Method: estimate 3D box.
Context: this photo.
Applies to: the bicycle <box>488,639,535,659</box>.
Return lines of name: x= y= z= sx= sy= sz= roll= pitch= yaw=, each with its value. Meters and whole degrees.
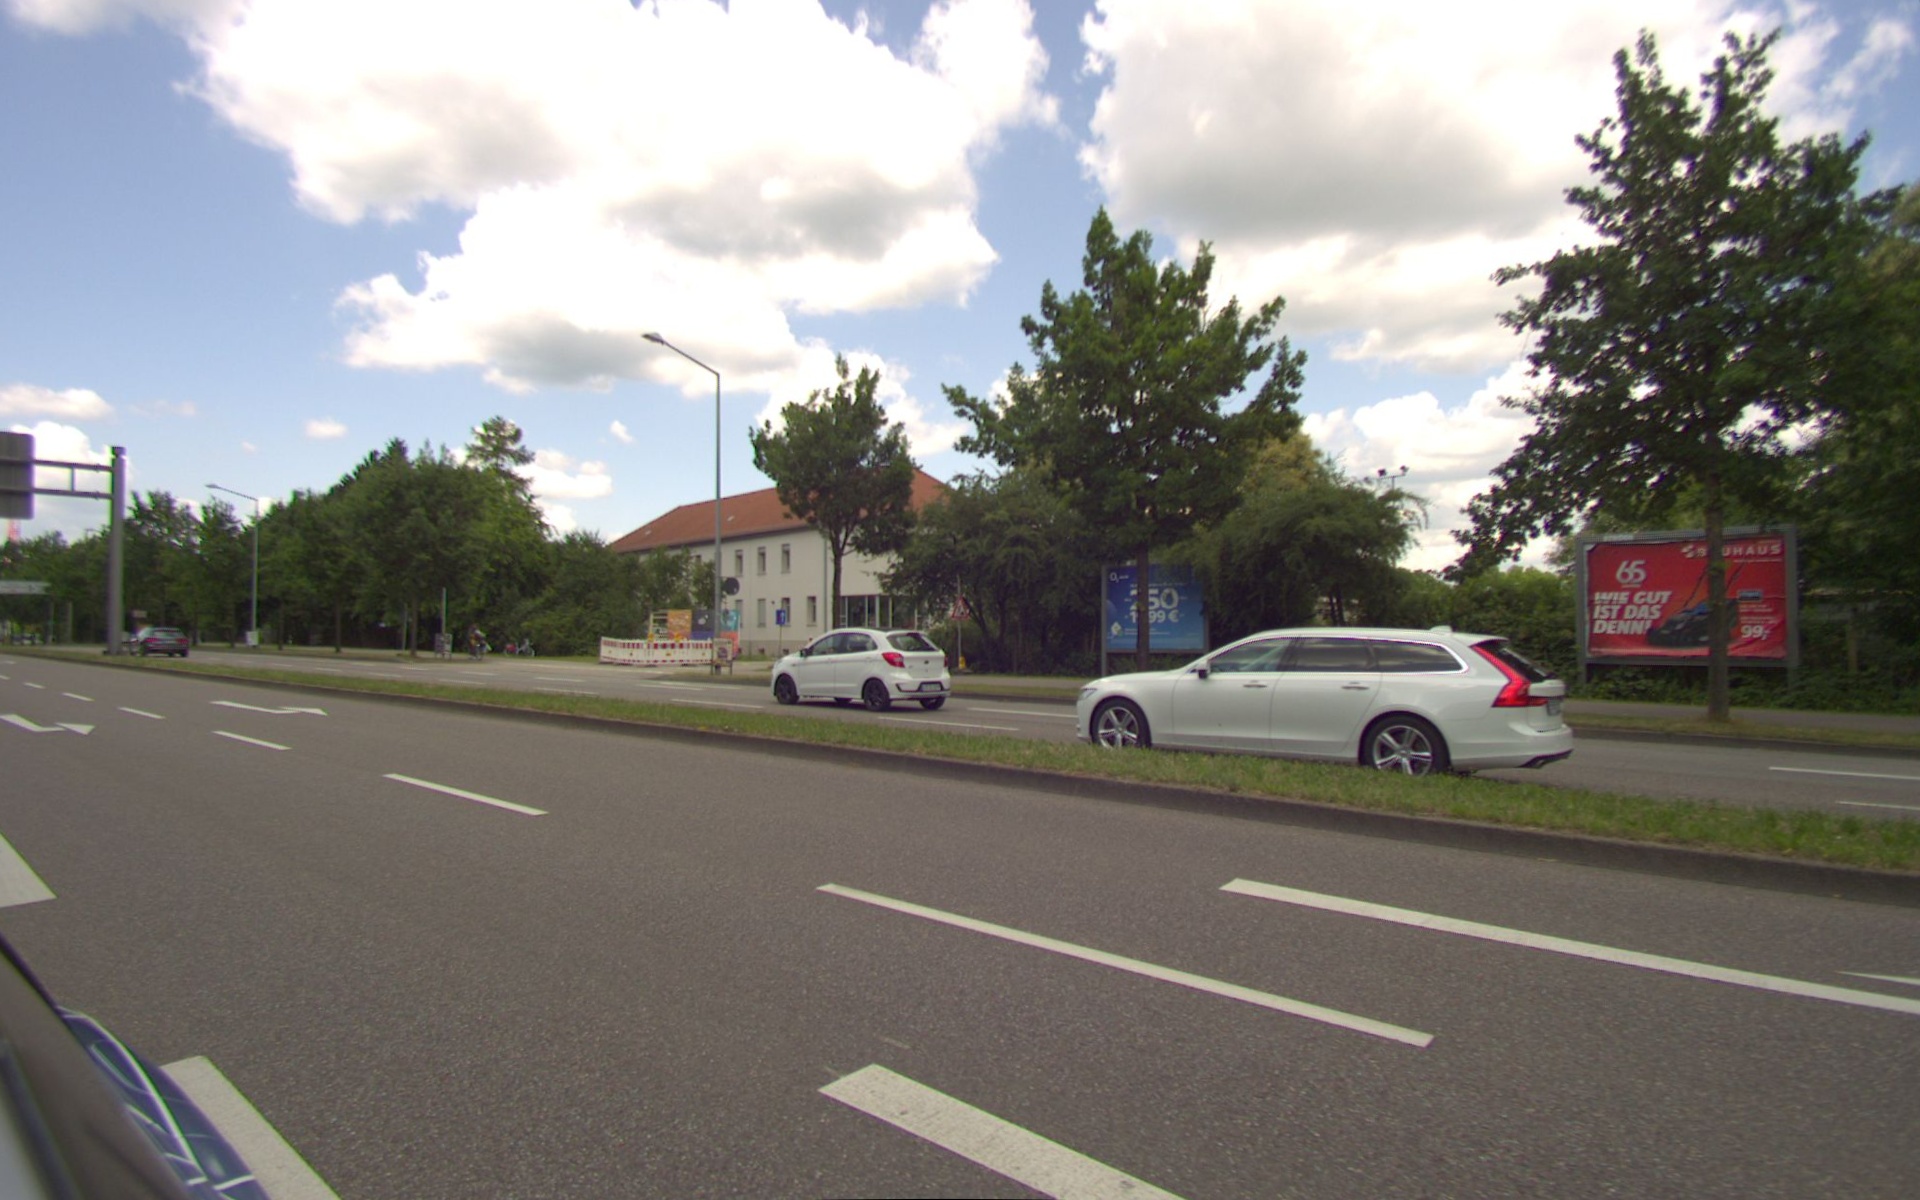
bicycle: x=-23.665 y=2.585 z=53.419 sx=2.117 sy=1.023 sz=0.665 roll=1 pitch=-2 yaw=-4

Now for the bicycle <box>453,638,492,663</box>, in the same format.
bicycle: x=-23.570 y=2.414 z=48.929 sx=2.254 sy=1.170 sz=0.743 roll=-2 pitch=-2 yaw=37

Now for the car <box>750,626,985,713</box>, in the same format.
car: x=-1.841 y=1.266 z=19.241 sx=4.411 sy=1.454 sz=1.895 roll=-2 pitch=-4 yaw=40

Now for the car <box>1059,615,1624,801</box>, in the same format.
car: x=3.626 y=0.909 z=10.303 sx=5.022 sy=1.442 sz=1.972 roll=-2 pitch=-2 yaw=41

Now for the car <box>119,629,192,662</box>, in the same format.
car: x=-39.972 y=2.217 z=50.259 sx=4.906 sy=1.528 sz=1.939 roll=-2 pitch=-2 yaw=41

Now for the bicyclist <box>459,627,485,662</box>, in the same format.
bicyclist: x=-23.614 y=2.149 z=48.981 sx=0.979 sy=1.671 sz=0.731 roll=-2 pitch=-2 yaw=36
